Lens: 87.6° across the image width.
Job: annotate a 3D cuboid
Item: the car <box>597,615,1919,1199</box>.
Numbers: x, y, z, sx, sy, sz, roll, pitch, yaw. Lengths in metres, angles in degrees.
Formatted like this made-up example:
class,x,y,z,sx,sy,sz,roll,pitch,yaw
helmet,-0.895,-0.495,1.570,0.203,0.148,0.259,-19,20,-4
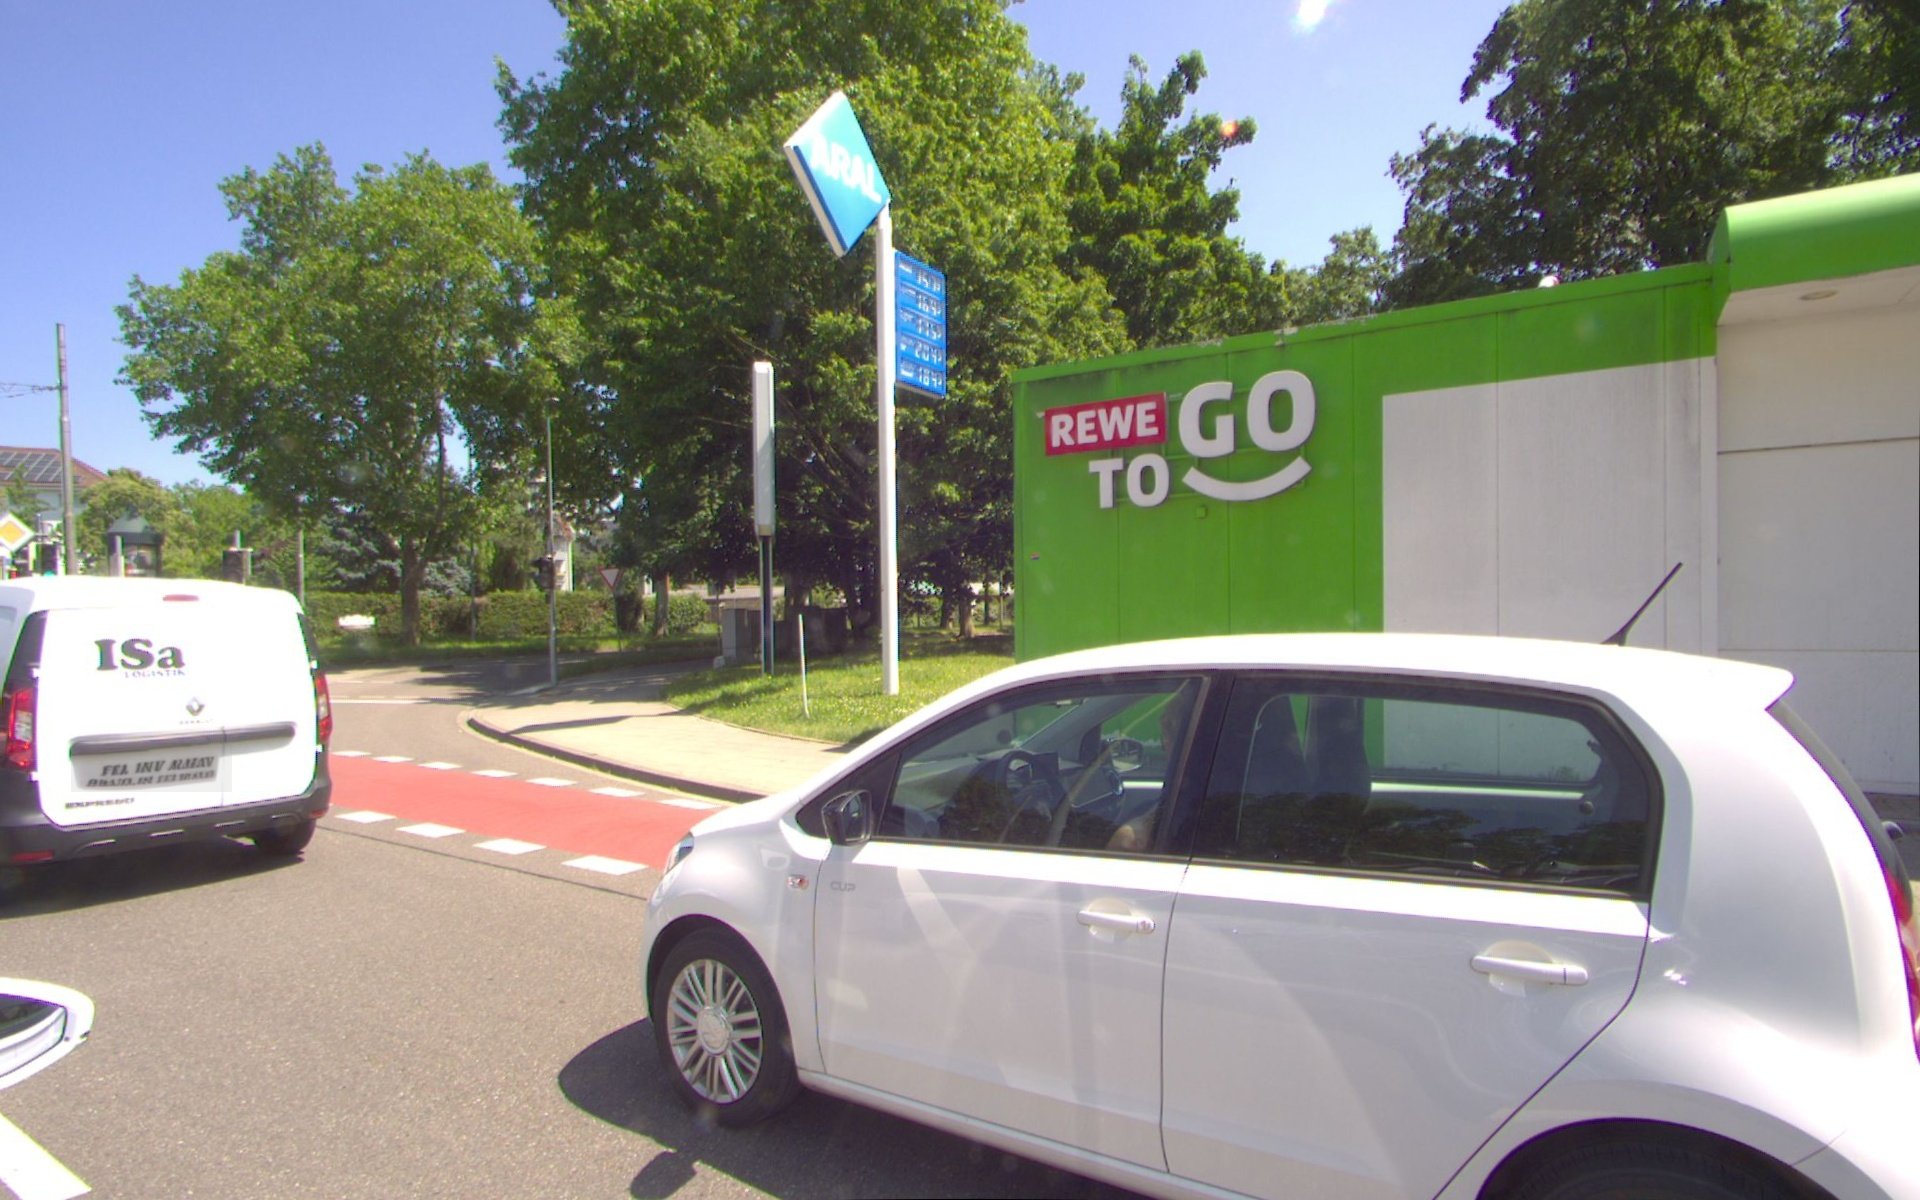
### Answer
class,x,y,z,sx,sy,sz,roll,pitch,yaw
car,0.678,0.796,3.004,3.387,1.466,1.606,0,-1,33

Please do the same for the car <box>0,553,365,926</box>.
class,x,y,z,sx,sy,sz,roll,pitch,yaw
car,-5.928,0.735,6.658,4.005,1.811,1.725,-1,-2,31

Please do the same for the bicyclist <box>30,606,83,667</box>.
class,x,y,z,sx,sy,sz,roll,pitch,yaw
bicyclist,-27.285,1.096,30.251,0.713,1.811,0.975,-1,0,19

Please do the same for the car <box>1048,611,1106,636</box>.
class,x,y,z,sx,sy,sz,roll,pitch,yaw
car,7.462,1.490,63.457,1.733,1.539,3.968,-2,-1,41

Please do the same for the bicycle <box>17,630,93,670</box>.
class,x,y,z,sx,sy,sz,roll,pitch,yaw
bicycle,-27.320,1.499,30.229,1.921,1.174,0.893,-1,0,19
